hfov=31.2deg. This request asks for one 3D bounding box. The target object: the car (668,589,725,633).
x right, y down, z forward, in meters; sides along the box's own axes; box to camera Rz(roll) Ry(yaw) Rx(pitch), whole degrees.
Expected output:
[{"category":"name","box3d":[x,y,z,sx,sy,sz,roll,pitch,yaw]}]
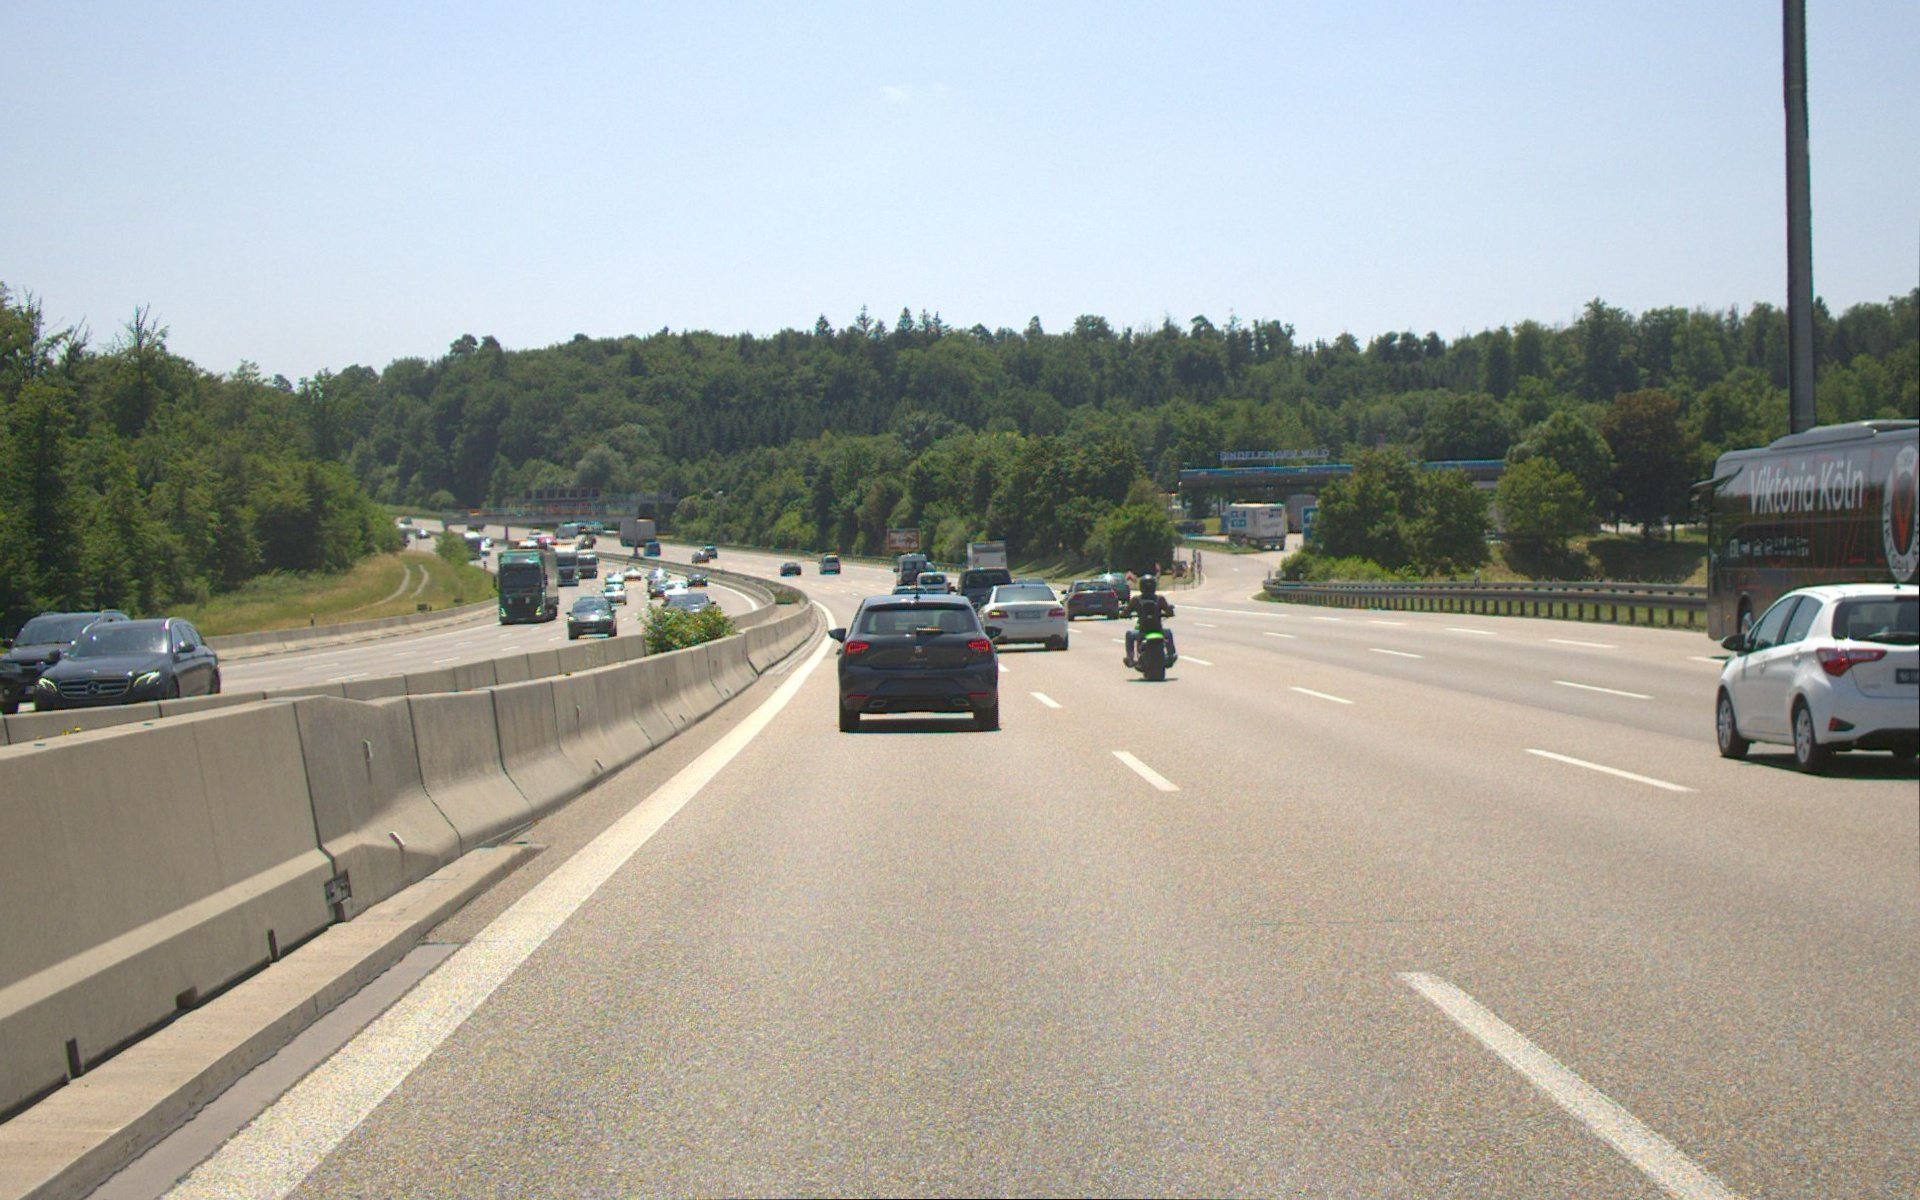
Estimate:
[{"category":"car","box3d":[-10.114,0.411,131.997,1.831,1.563,4.786,-3,0,-1]}]

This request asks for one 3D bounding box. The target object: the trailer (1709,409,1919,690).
[{"category":"trailer","box3d":[13.999,-0.694,50.873,2.857,3.675,13.542,-2,0,0]}]

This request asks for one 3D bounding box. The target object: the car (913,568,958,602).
[{"category":"car","box3d":[-1.279,-0.779,176.463,1.993,1.678,4.424,0,1,-5]}]

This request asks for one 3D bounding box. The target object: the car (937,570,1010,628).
[{"category":"car","box3d":[0.434,-0.047,115.379,2.097,1.845,4.081,-1,0,-4]}]

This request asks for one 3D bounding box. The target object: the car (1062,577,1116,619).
[{"category":"car","box3d":[4.471,-0.072,119.560,1.675,1.427,3.685,0,0,-1]}]

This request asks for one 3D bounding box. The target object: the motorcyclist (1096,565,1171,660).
[{"category":"motorcyclist","box3d":[2.720,0.181,54.016,0.962,1.433,1.235,-3,1,-5]}]

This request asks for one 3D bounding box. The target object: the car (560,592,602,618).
[{"category":"car","box3d":[-20.301,0.277,184.163,1.831,1.297,4.730,-1,0,-2]}]

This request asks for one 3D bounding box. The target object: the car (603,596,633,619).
[{"category":"car","box3d":[-24.561,0.555,247.053,1.872,1.529,4.136,-3,0,-2]}]

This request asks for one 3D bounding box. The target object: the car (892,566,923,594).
[{"category":"car","box3d":[-3.913,-1.495,256.555,1.993,2.007,4.675,0,1,-5]}]

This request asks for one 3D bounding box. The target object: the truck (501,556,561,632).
[{"category":"truck","box3d":[-23.722,-0.344,190.175,2.657,4.012,5.511,-2,0,-2]}]

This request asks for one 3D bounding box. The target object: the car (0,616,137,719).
[{"category":"car","box3d":[-15.886,1.162,60.056,1.798,1.637,5.079,-3,0,-1]}]

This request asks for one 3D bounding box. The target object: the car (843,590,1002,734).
[{"category":"car","box3d":[-0.401,0.655,37.228,1.624,1.482,3.685,0,-1,0]}]

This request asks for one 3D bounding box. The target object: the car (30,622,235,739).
[{"category":"car","box3d":[-11.635,1.094,48.645,1.798,1.476,4.721,-1,0,-1]}]

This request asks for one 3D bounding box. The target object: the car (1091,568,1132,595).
[{"category":"car","box3d":[7.050,-0.864,160.132,1.608,1.208,3.460,-2,0,-2]}]

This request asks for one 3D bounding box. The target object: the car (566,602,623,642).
[{"category":"car","box3d":[-14.045,0.836,132.302,1.767,1.473,4.481,-2,0,-1]}]

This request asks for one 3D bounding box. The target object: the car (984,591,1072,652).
[{"category":"car","box3d":[1.464,0.452,75.269,1.782,1.261,3.460,-1,0,-1]}]

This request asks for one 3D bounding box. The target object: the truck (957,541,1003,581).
[{"category":"truck","box3d":[1.407,-2.770,243.562,2.726,2.777,5.684,0,1,-5]}]

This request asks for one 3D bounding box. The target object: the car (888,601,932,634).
[{"category":"car","box3d":[-1.976,0.682,135.277,1.536,1.208,3.460,-2,0,-4]}]

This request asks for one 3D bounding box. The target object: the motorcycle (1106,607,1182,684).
[{"category":"motorcycle","box3d":[2.885,0.696,54.039,0.977,1.125,2.271,-2,1,-2]}]

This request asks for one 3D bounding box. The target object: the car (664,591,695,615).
[{"category":"car","box3d":[-18.668,0.195,228.771,1.831,1.556,4.777,0,0,-2]}]

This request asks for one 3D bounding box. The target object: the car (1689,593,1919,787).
[{"category":"car","box3d":[7.354,0.680,28.291,1.666,1.429,4.376,-1,0,-1]}]
